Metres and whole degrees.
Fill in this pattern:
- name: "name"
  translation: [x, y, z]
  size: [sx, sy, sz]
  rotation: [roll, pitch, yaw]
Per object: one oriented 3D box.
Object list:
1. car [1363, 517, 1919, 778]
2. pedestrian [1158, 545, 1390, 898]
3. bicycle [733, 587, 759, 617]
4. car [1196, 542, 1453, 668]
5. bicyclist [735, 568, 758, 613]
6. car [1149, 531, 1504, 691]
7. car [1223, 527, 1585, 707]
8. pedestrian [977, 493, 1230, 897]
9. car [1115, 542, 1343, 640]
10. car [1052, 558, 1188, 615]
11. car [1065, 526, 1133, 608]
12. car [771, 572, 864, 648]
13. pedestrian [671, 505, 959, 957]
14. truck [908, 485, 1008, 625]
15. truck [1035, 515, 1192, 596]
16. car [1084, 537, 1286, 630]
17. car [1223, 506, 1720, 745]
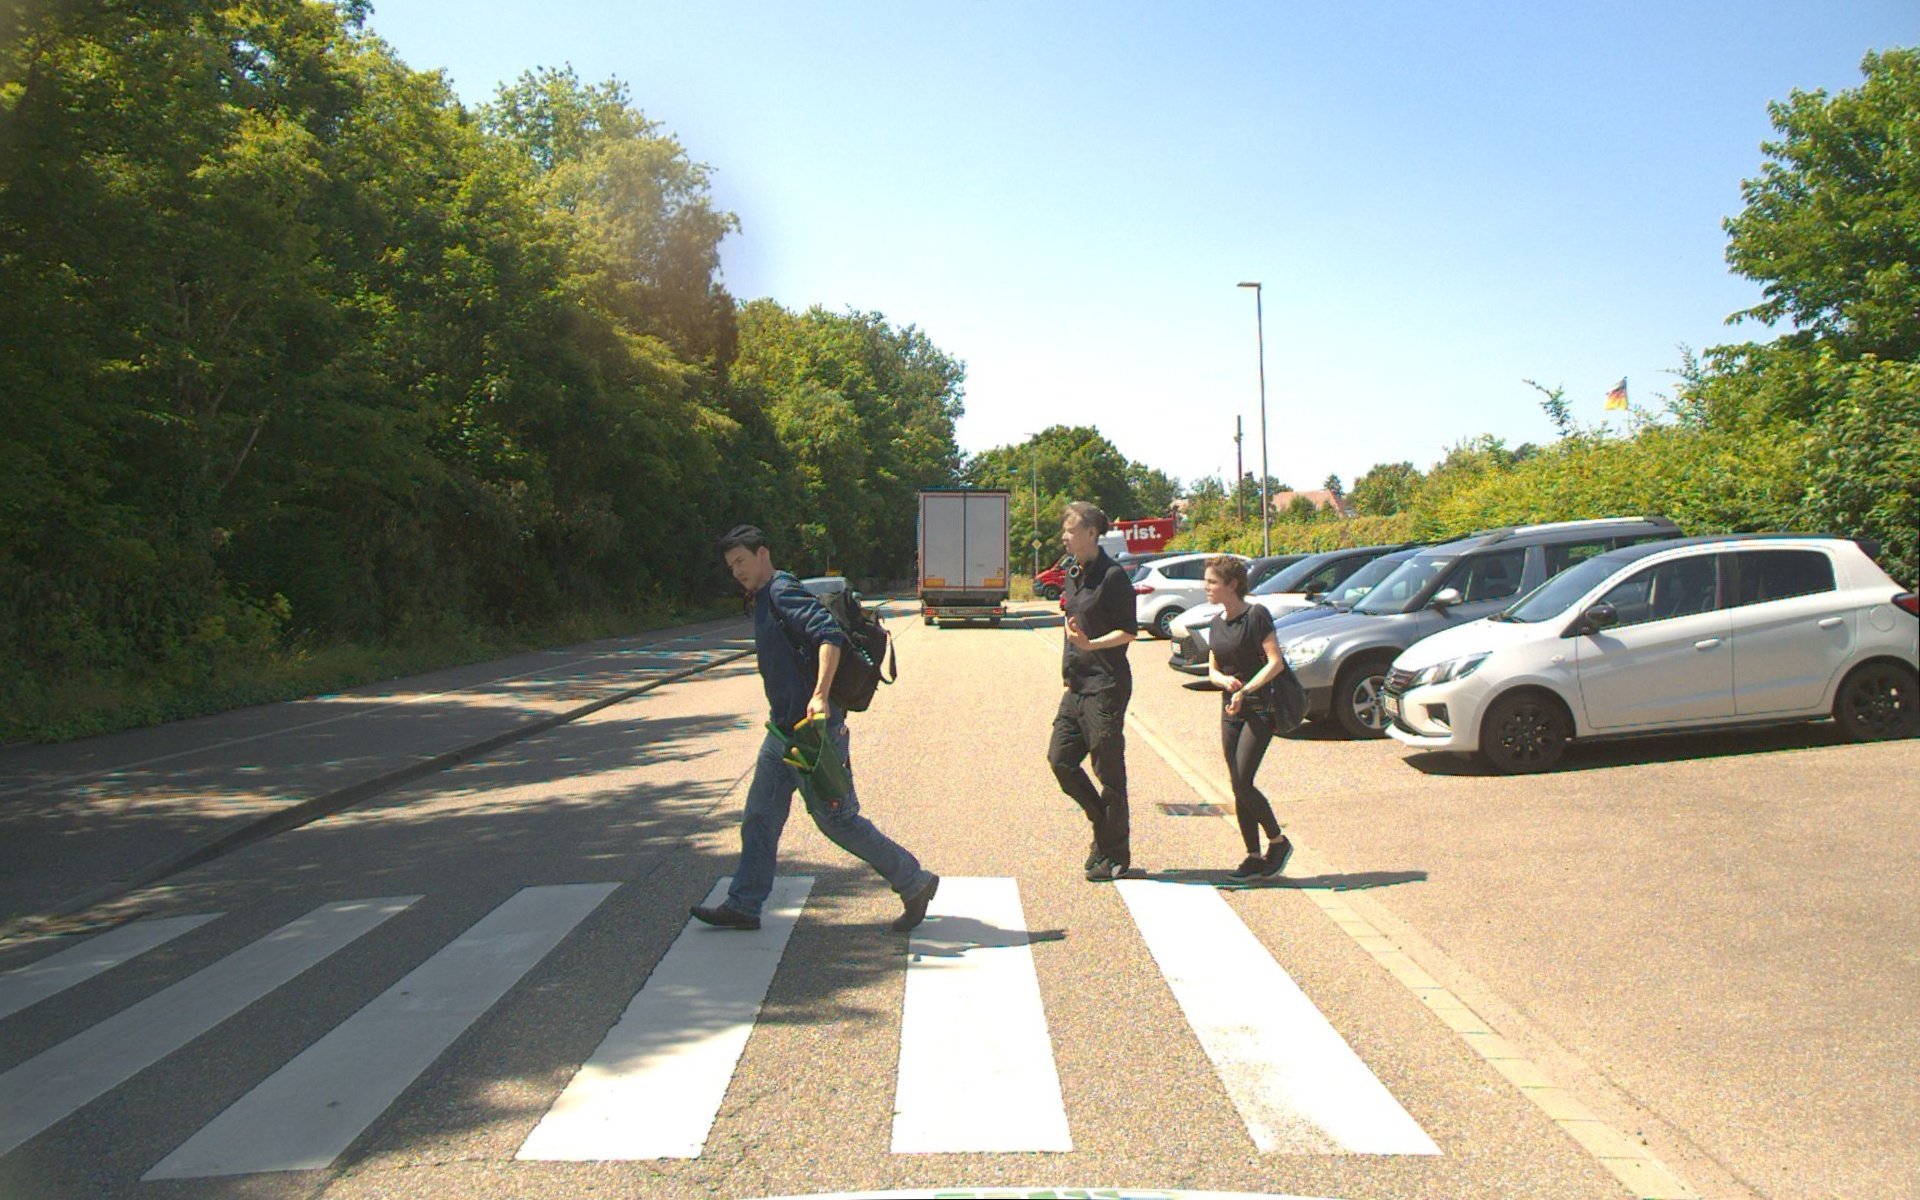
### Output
- name: "car"
  translation: [4.987, 0.308, 12.149]
  size: [3.613, 1.475, 1.611]
  rotation: [-5, 1, 3]
- name: "pedestrian"
  translation: [1.574, 0.560, 8.284]
  size: [0.889, 1.639, 0.768]
  rotation: [0, 0, -43]
- name: "bicycle"
  translation: [-7.838, 0.082, 60.704]
  size: [0.549, 1.045, 1.840]
  rotation: [-2, 1, 4]
- name: "car"
  translation: [5.183, 0.047, 23.826]
  size: [3.317, 1.529, 1.589]
  rotation: [-4, 1, 3]
- name: "bicyclist"
  translation: [-7.832, -0.353, 60.739]
  size: [0.635, 1.592, 0.837]
  rotation: [-2, 1, 4]
- name: "car"
  translation: [4.535, 0.113, 20.824]
  size: [3.887, 1.549, 1.862]
  rotation: [-6, 1, -6]
- name: "car"
  translation: [4.755, 0.157, 17.958]
  size: [3.386, 1.553, 1.538]
  rotation: [-6, 1, -5]
- name: "pedestrian"
  translation: [0.737, 0.443, 8.429]
  size: [1.077, 1.897, 0.771]
  rotation: [0, 0, -43]
- name: "car"
  translation: [5.359, -0.198, 33.278]
  size: [4.191, 1.605, 1.765]
  rotation: [-4, 1, -2]
- name: "car"
  translation: [5.030, -0.442, 52.349]
  size: [3.974, 1.458, 1.835]
  rotation: [-4, 1, -3]
- name: "car"
  translation: [5.222, -1.274, 62.863]
  size: [1.914, 2.780, 7.169]
  rotation: [-4, 1, 1]
- name: "car"
  translation: [-3.377, 0.187, 39.947]
  size: [1.853, 1.558, 4.196]
  rotation: [-6, 1, -1]
- name: "pedestrian"
  translation: [-0.604, 0.511, 7.080]
  size: [1.132, 1.782, 1.022]
  rotation: [0, 0, -4]
- name: "truck"
  translation: [0.024, -1.333, 51.980]
  size: [2.677, 3.811, 13.247]
  rotation: [-1, 1, 1]
- name: "truck"
  translation: [7.172, -2.060, 76.993]
  size: [6.984, 3.499, 2.333]
  rotation: [-1, 2, 11]
- name: "car"
  translation: [5.326, -0.389, 39.488]
  size: [4.366, 1.836, 1.951]
  rotation: [-4, 0, -4]
- name: "car"
  translation: [4.554, 0.193, 15.026]
  size: [3.885, 1.668, 1.662]
  rotation: [-6, 1, -6]
